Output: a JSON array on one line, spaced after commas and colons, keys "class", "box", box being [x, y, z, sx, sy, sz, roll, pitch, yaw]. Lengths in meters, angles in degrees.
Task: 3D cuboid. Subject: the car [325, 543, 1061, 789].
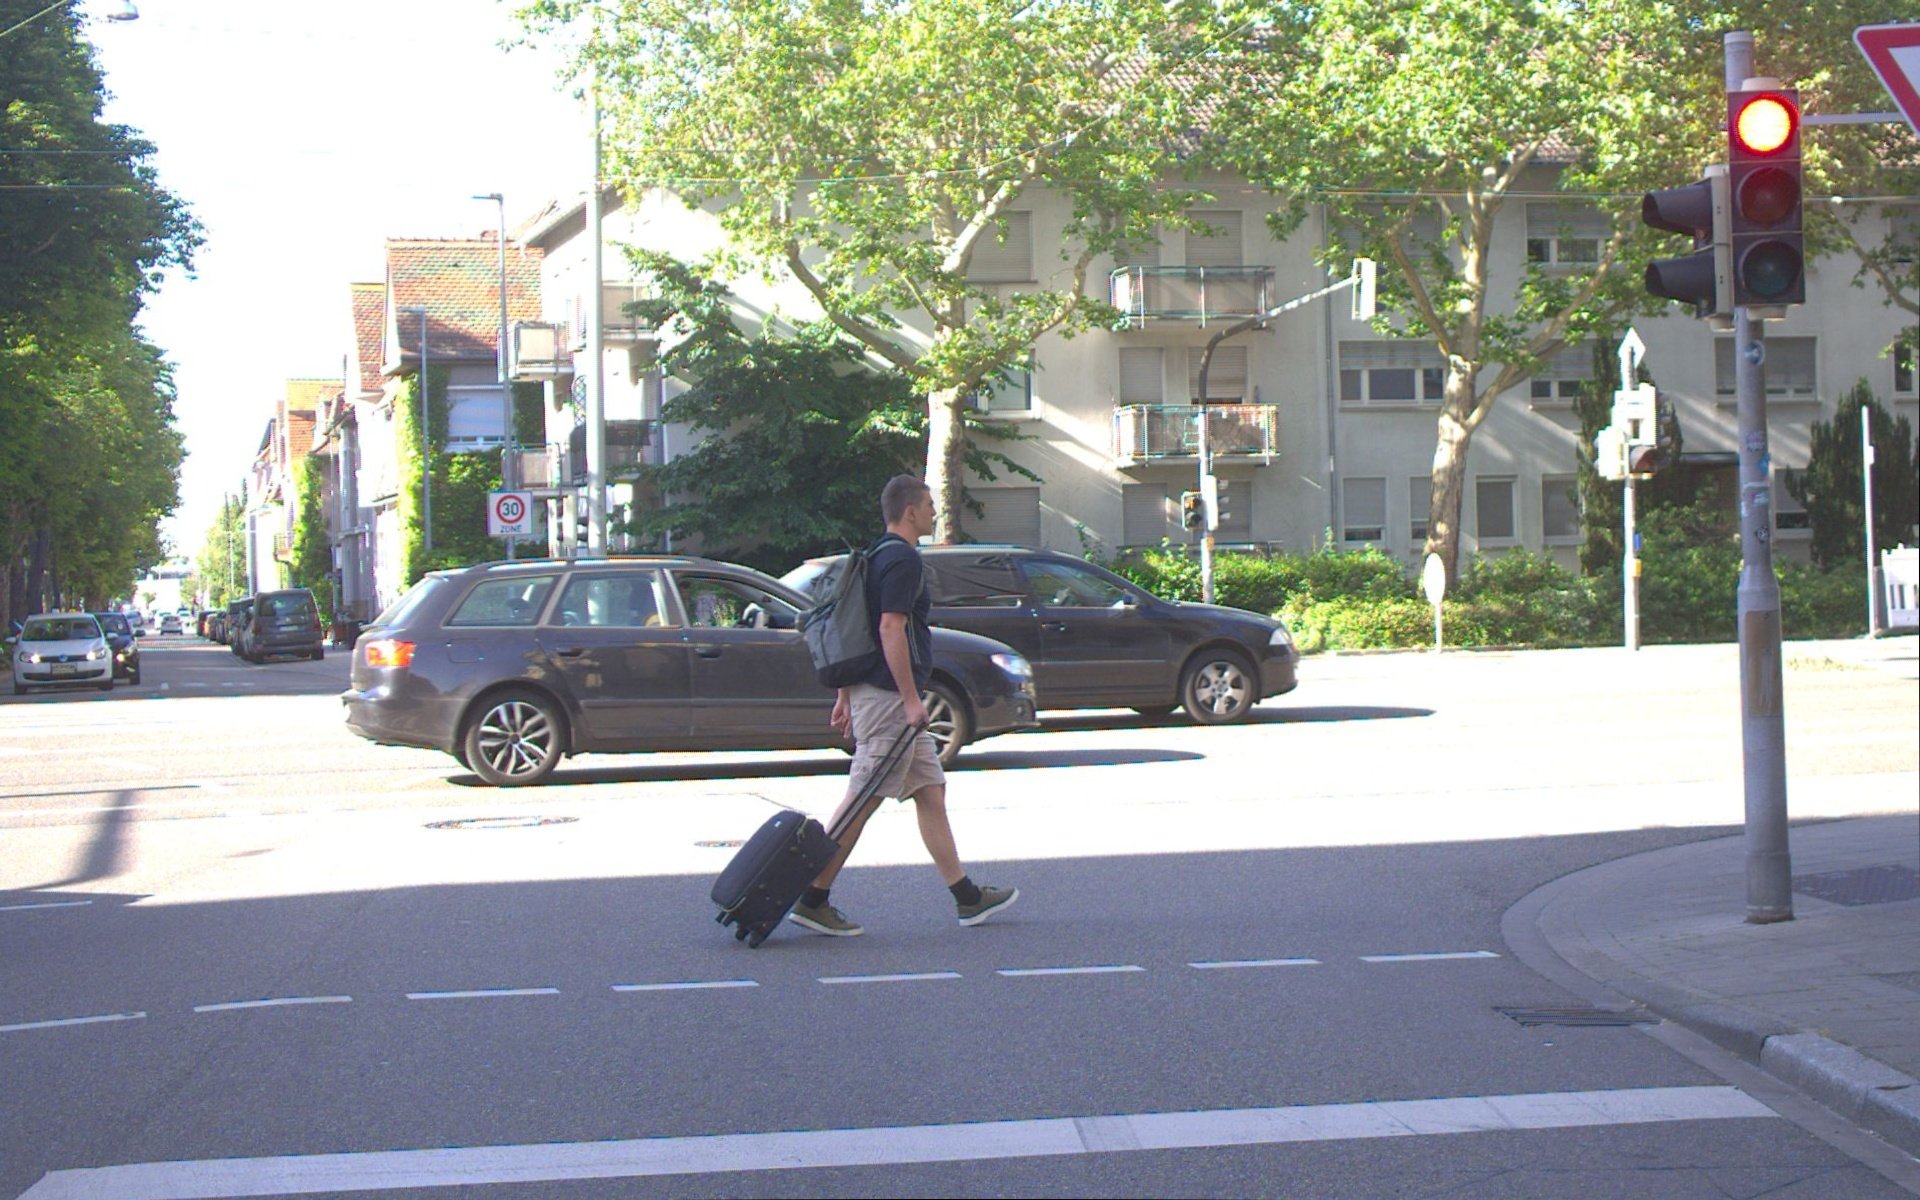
[{"class": "car", "box": [-1.800, 0.392, 22.820, 4.616, 1.451, 1.731, -1, 1, -14]}]

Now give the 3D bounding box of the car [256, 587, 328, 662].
[{"class": "car", "box": [-18.390, 0.651, 94.523, 1.772, 1.912, 3.535, -3, 1, -12]}]

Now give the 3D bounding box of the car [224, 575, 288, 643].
[{"class": "car", "box": [-21.454, 0.258, 104.638, 1.772, 1.912, 3.535, -3, 1, -12]}]

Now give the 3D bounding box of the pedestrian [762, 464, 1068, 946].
[{"class": "pedestrian", "box": [-0.189, 0.393, 13.648, 1.065, 1.842, 0.749, -1, 1, -13]}]

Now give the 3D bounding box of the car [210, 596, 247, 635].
[{"class": "car", "box": [-38.468, 0.800, 180.815, 1.772, 1.912, 3.535, -3, 1, -12]}]

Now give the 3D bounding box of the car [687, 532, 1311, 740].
[{"class": "car", "box": [0.275, 0.253, 27.511, 4.616, 1.451, 1.982, -2, 1, -13]}]

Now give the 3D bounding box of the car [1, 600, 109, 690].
[{"class": "car", "box": [-16.648, 0.808, 63.352, 1.698, 1.478, 3.535, -3, 1, -12]}]

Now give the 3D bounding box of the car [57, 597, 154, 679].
[{"class": "car", "box": [-17.190, 0.745, 69.273, 1.698, 1.478, 3.535, -3, 1, -12]}]

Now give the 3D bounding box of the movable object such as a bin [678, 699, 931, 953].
[{"class": "movable object such as a bin", "box": [-0.597, 0.850, 13.115, 0.861, 0.889, 0.509, -2, 1, -13]}]

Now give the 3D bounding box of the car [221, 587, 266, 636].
[{"class": "car", "box": [-30.532, 0.474, 146.433, 1.772, 1.912, 3.535, -3, 1, -12]}]
